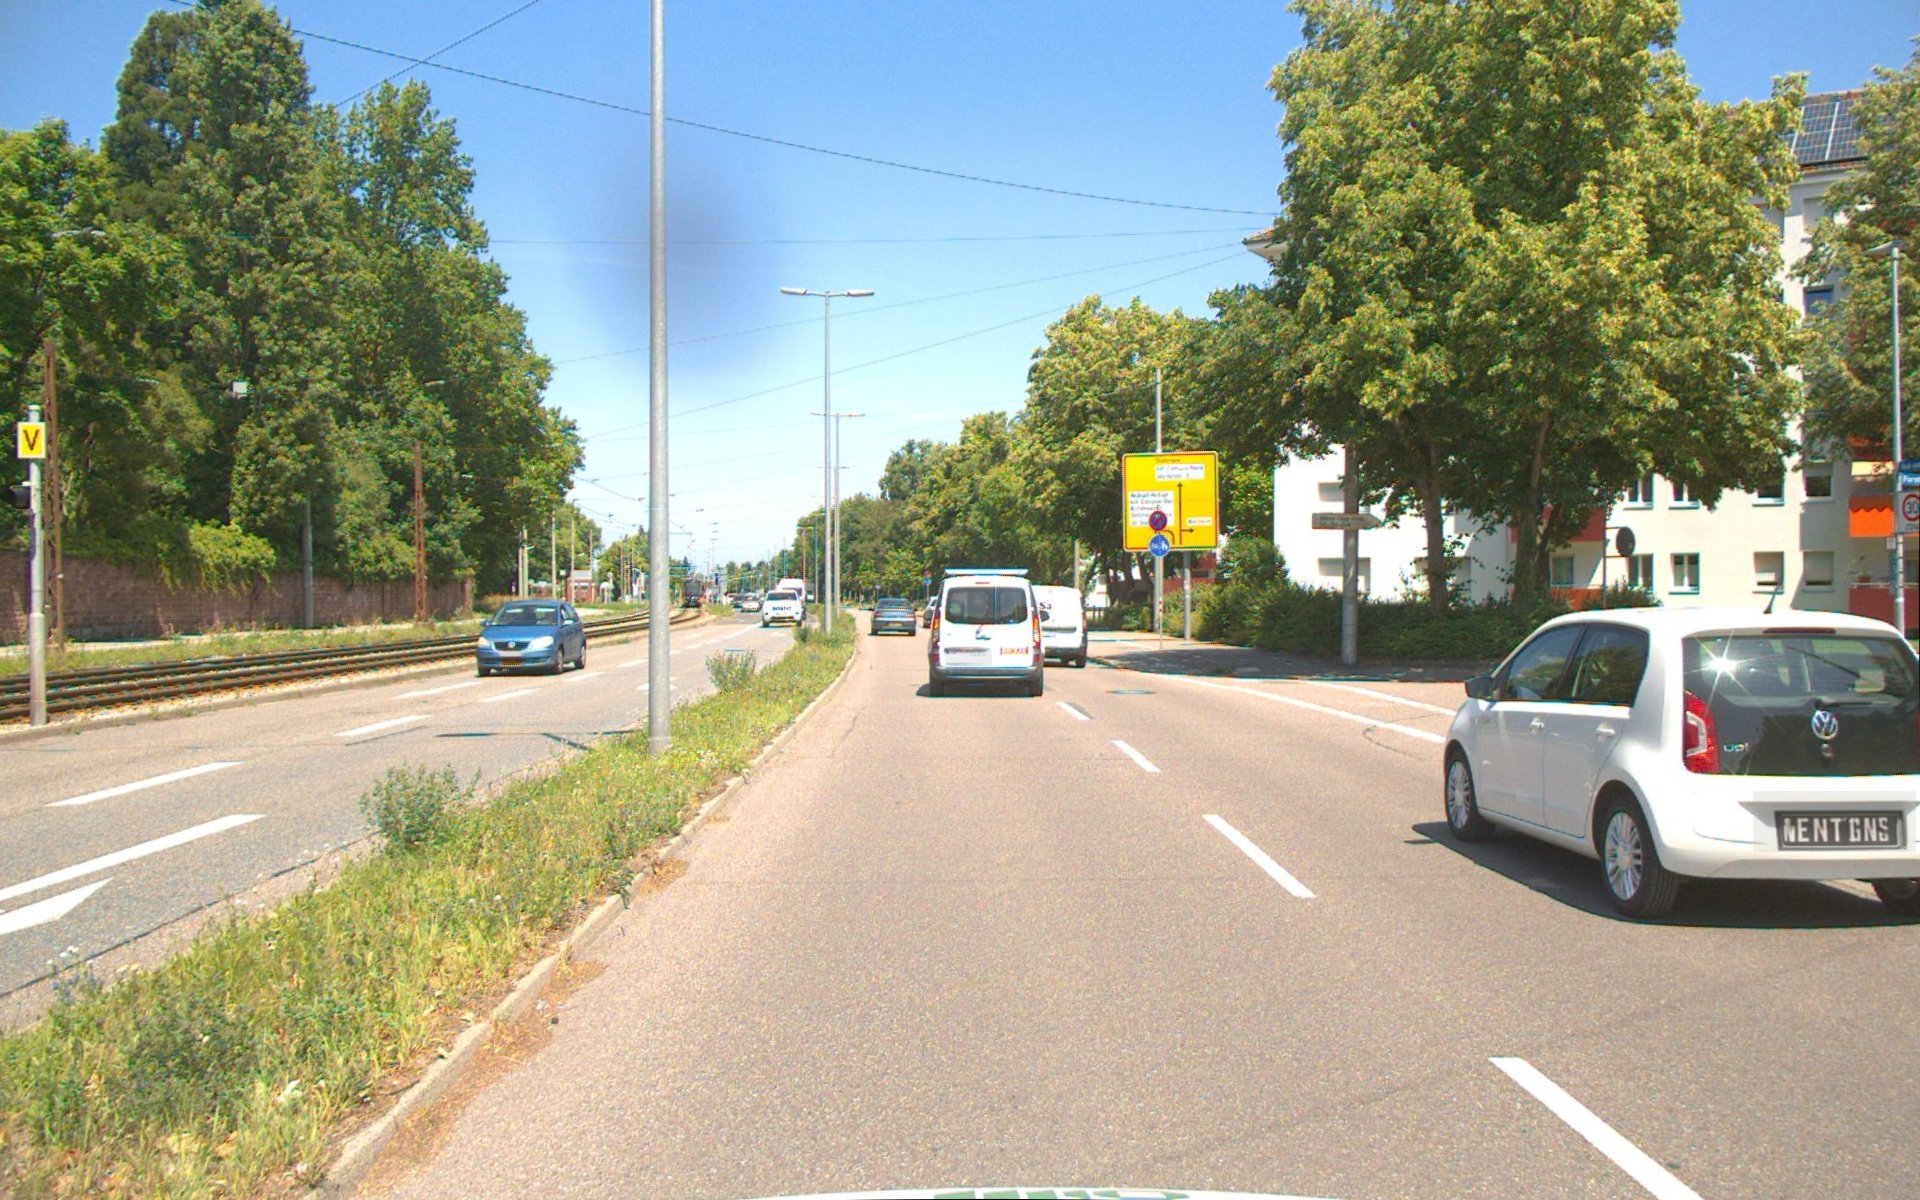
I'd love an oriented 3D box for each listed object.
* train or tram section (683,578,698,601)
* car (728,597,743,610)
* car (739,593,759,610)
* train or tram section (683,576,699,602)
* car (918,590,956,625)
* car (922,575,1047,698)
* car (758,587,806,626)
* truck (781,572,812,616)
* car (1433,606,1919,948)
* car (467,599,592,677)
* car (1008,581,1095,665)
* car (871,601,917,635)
[{"bbox_3d":[-37.998,-1.414,232.875,1.957,3.140,19.454,1,0,-10],"label":"train or tram section"},{"bbox_3d":[-29.516,0.482,217.360,1.713,1.594,3.995,1,0,-6],"label":"car"},{"bbox_3d":[-20.388,0.176,159.725,1.713,1.594,3.995,1,0,-6],"label":"car"},{"bbox_3d":[-35.051,-1.408,215.330,1.957,3.140,16.130,1,0,-10],"label":"train or tram section"},{"bbox_3d":[-1.116,0.339,81.085,1.797,1.596,4.000,1,1,0],"label":"car"},{"bbox_3d":[0.346,0.518,26.333,1.784,1.770,4.396,1,0,0],"label":"car"},{"bbox_3d":[-8.589,0.309,80.163,1.953,1.847,3.999,0,0,-1],"label":"car"},{"bbox_3d":[-12.548,-0.455,127.242,1.953,3.270,5.310,0,0,-1],"label":"truck"},{"bbox_3d":[4.000,0.817,9.235,1.577,1.472,3.434,1,1,-3],"label":"car"},{"bbox_3d":[-8.733,0.722,33.863,1.663,1.464,3.998,-1,0,-3],"label":"car"},{"bbox_3d":[2.075,0.502,38.538,1.692,1.819,4.063,1,0,-1],"label":"car"},{"bbox_3d":[-2.475,0.662,63.089,1.658,1.237,3.588,1,0,-1],"label":"car"}]
